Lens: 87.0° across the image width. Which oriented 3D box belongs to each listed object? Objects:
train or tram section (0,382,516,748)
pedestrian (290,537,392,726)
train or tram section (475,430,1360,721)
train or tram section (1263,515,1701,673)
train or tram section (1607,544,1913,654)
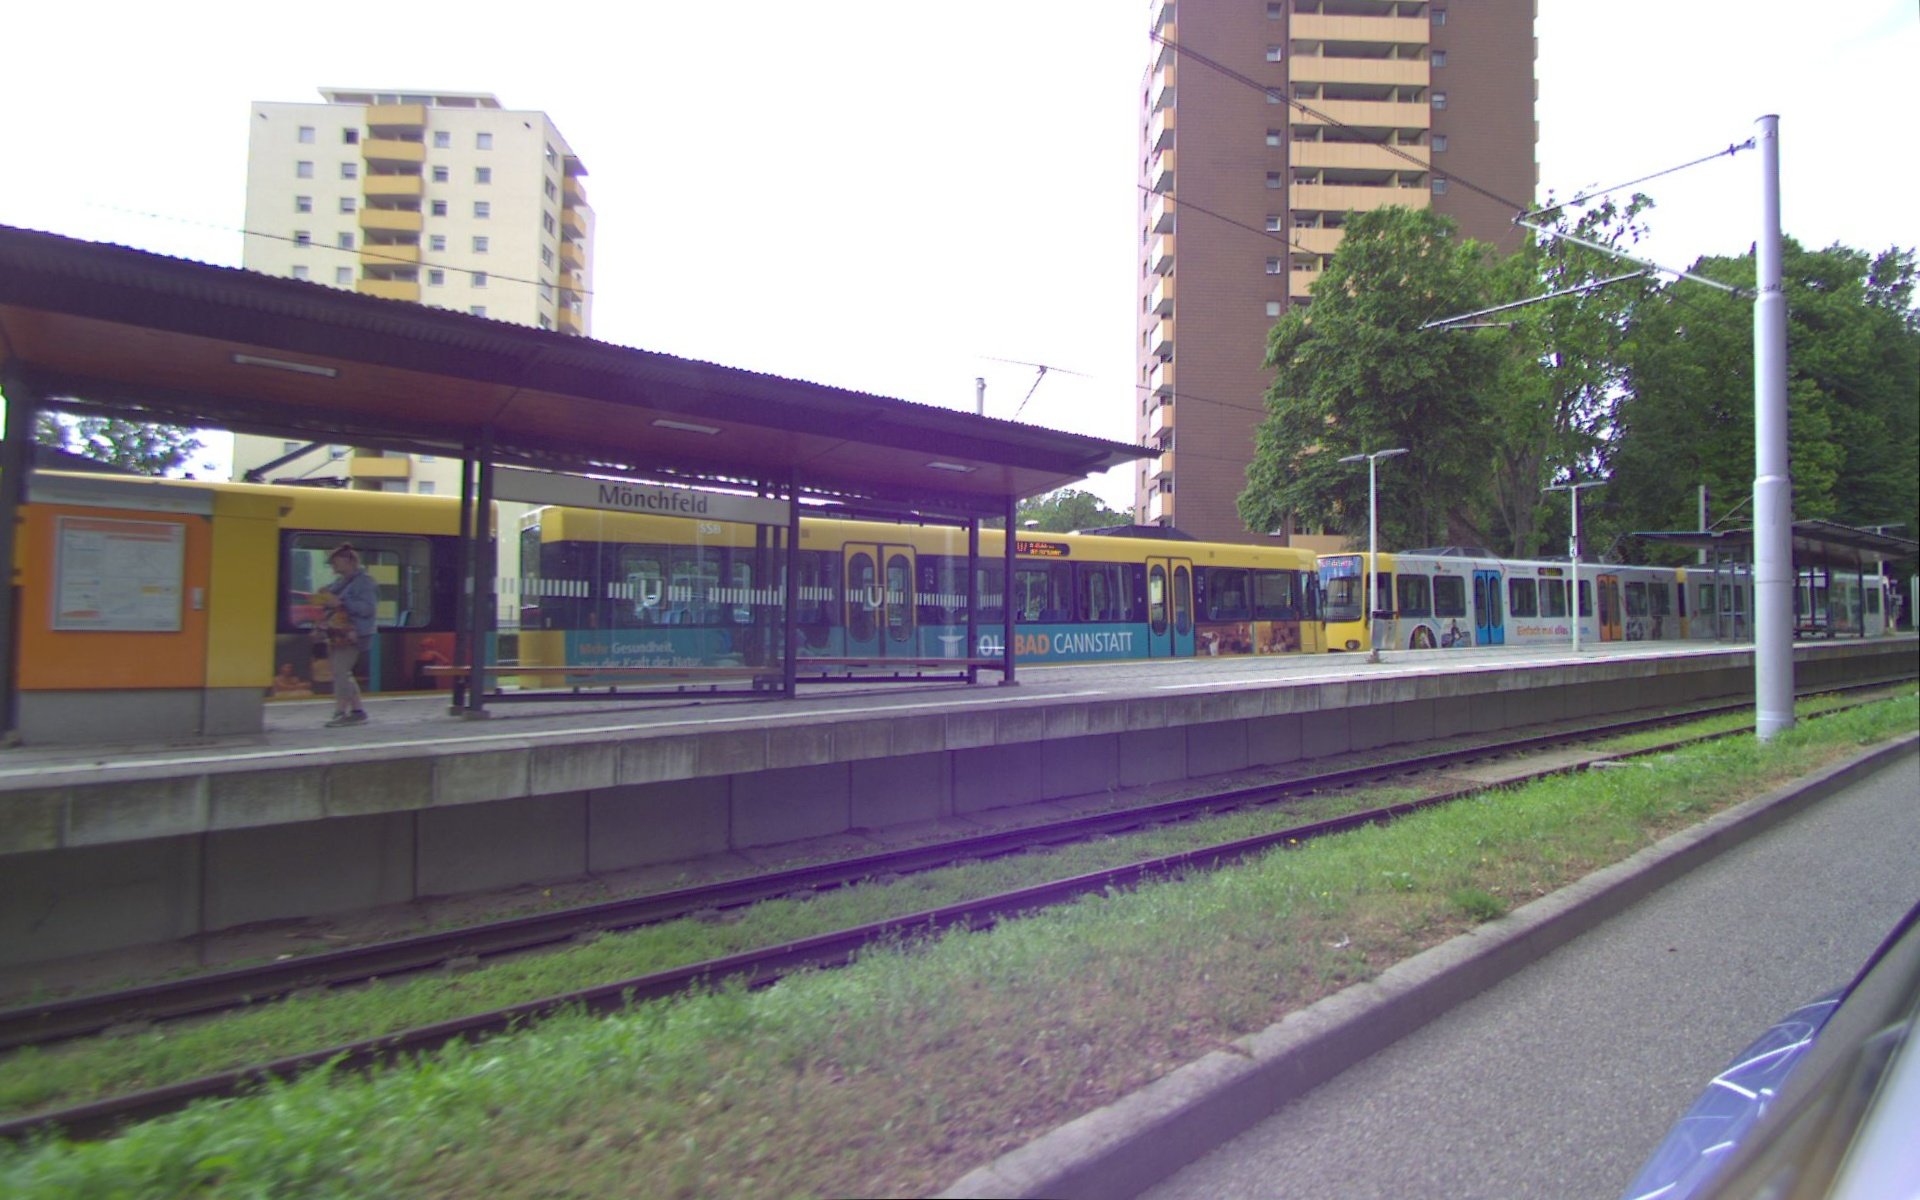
[{"bbox_3d":[-14.133,-0.340,8.264,19.153,3.636,2.819,1,-3,-38],"label":"train or tram section"},{"bbox_3d":[-5.459,0.267,8.960,0.651,1.593,0.626,0,-1,-19],"label":"pedestrian"},{"bbox_3d":[1.131,-0.191,19.986,19.147,3.786,2.820,1,-3,-37],"label":"train or tram section"},{"bbox_3d":[16.725,-0.041,30.883,18.562,3.848,2.823,0,-3,-33],"label":"train or tram section"},{"bbox_3d":[32.470,0.033,40.465,18.158,3.786,2.824,0,-3,-30],"label":"train or tram section"}]
